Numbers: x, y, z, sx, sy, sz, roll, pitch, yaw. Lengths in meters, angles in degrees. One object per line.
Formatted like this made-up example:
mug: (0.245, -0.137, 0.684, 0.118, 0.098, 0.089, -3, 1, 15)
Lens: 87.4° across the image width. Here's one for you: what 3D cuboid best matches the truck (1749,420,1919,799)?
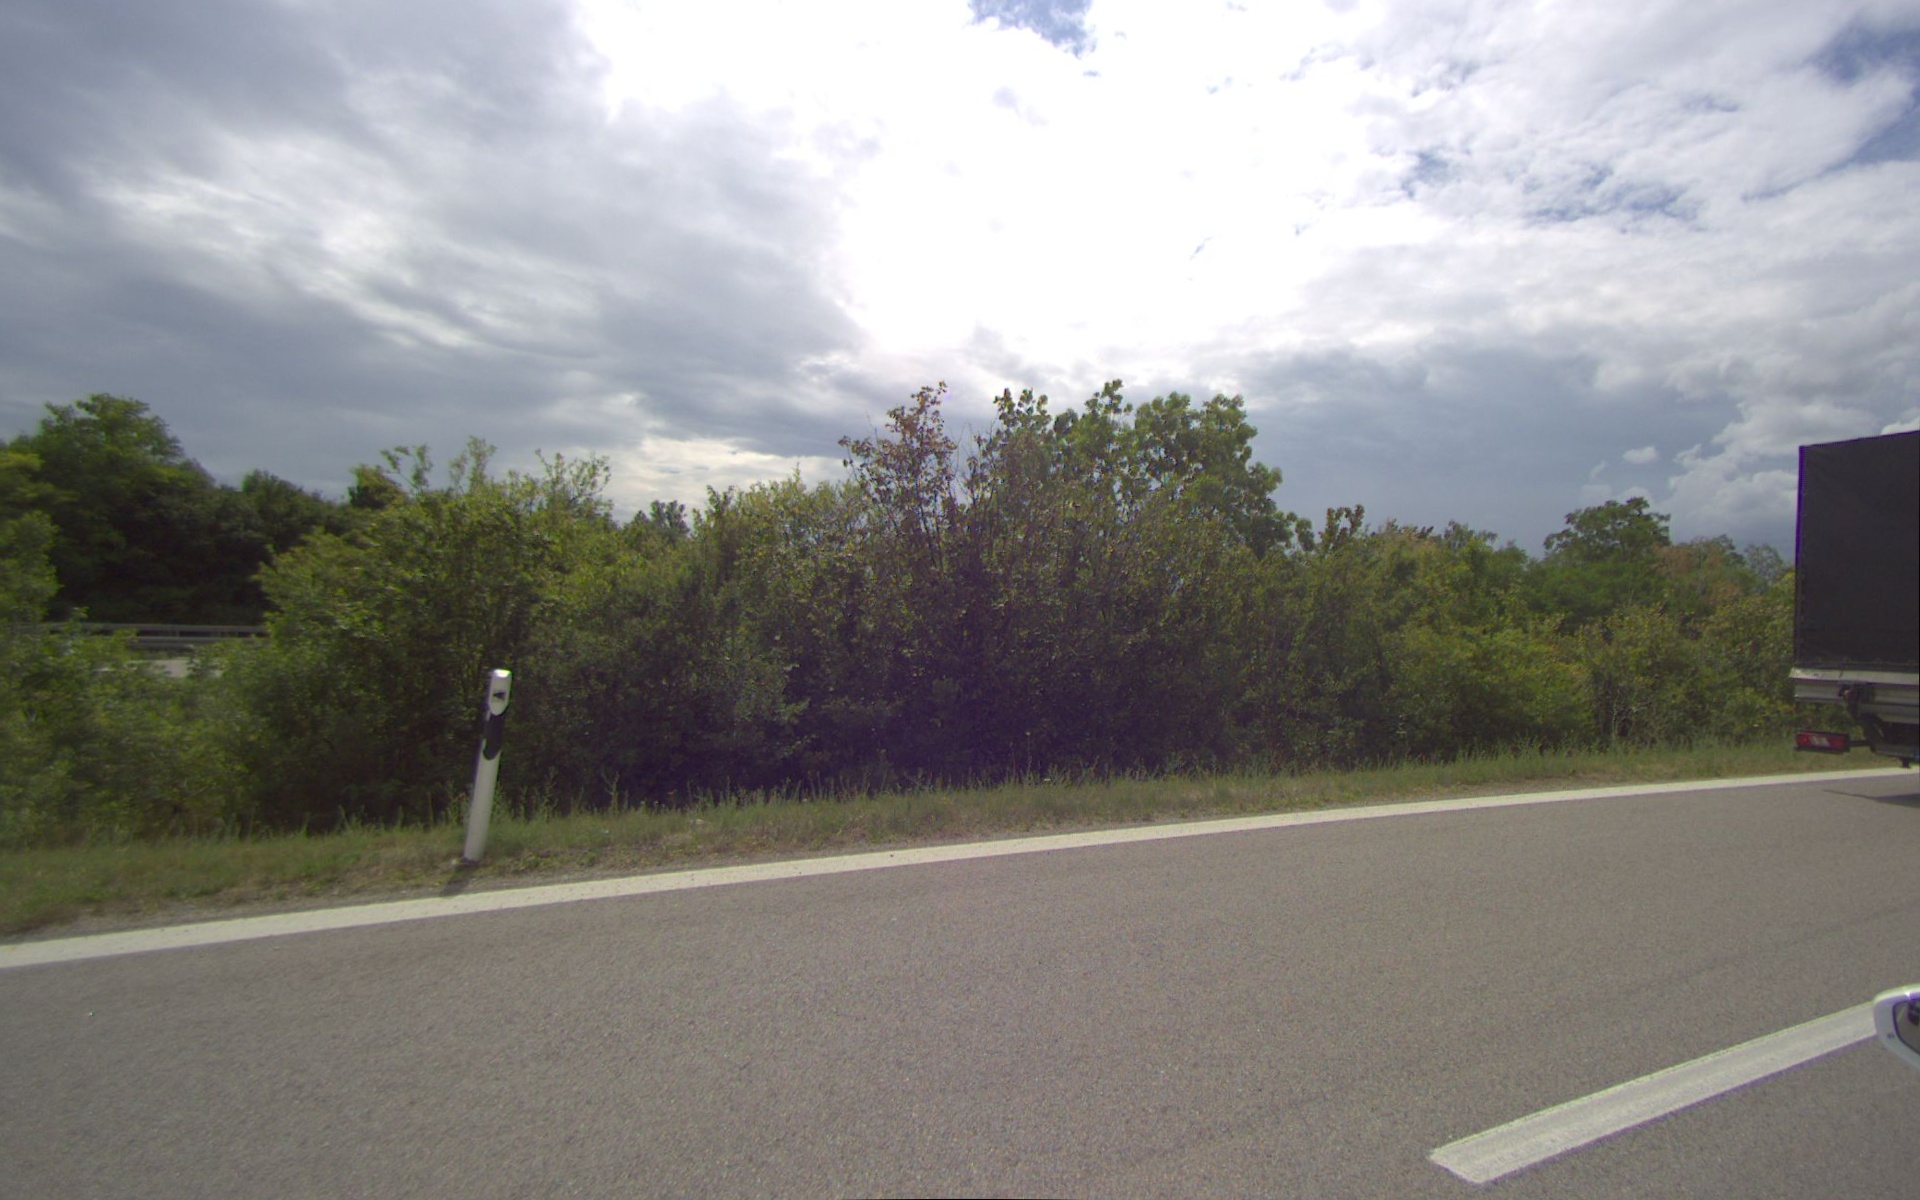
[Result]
truck: (11.528, 0.199, 9.862, 7.358, 3.210, 2.555, 2, 0, -22)
